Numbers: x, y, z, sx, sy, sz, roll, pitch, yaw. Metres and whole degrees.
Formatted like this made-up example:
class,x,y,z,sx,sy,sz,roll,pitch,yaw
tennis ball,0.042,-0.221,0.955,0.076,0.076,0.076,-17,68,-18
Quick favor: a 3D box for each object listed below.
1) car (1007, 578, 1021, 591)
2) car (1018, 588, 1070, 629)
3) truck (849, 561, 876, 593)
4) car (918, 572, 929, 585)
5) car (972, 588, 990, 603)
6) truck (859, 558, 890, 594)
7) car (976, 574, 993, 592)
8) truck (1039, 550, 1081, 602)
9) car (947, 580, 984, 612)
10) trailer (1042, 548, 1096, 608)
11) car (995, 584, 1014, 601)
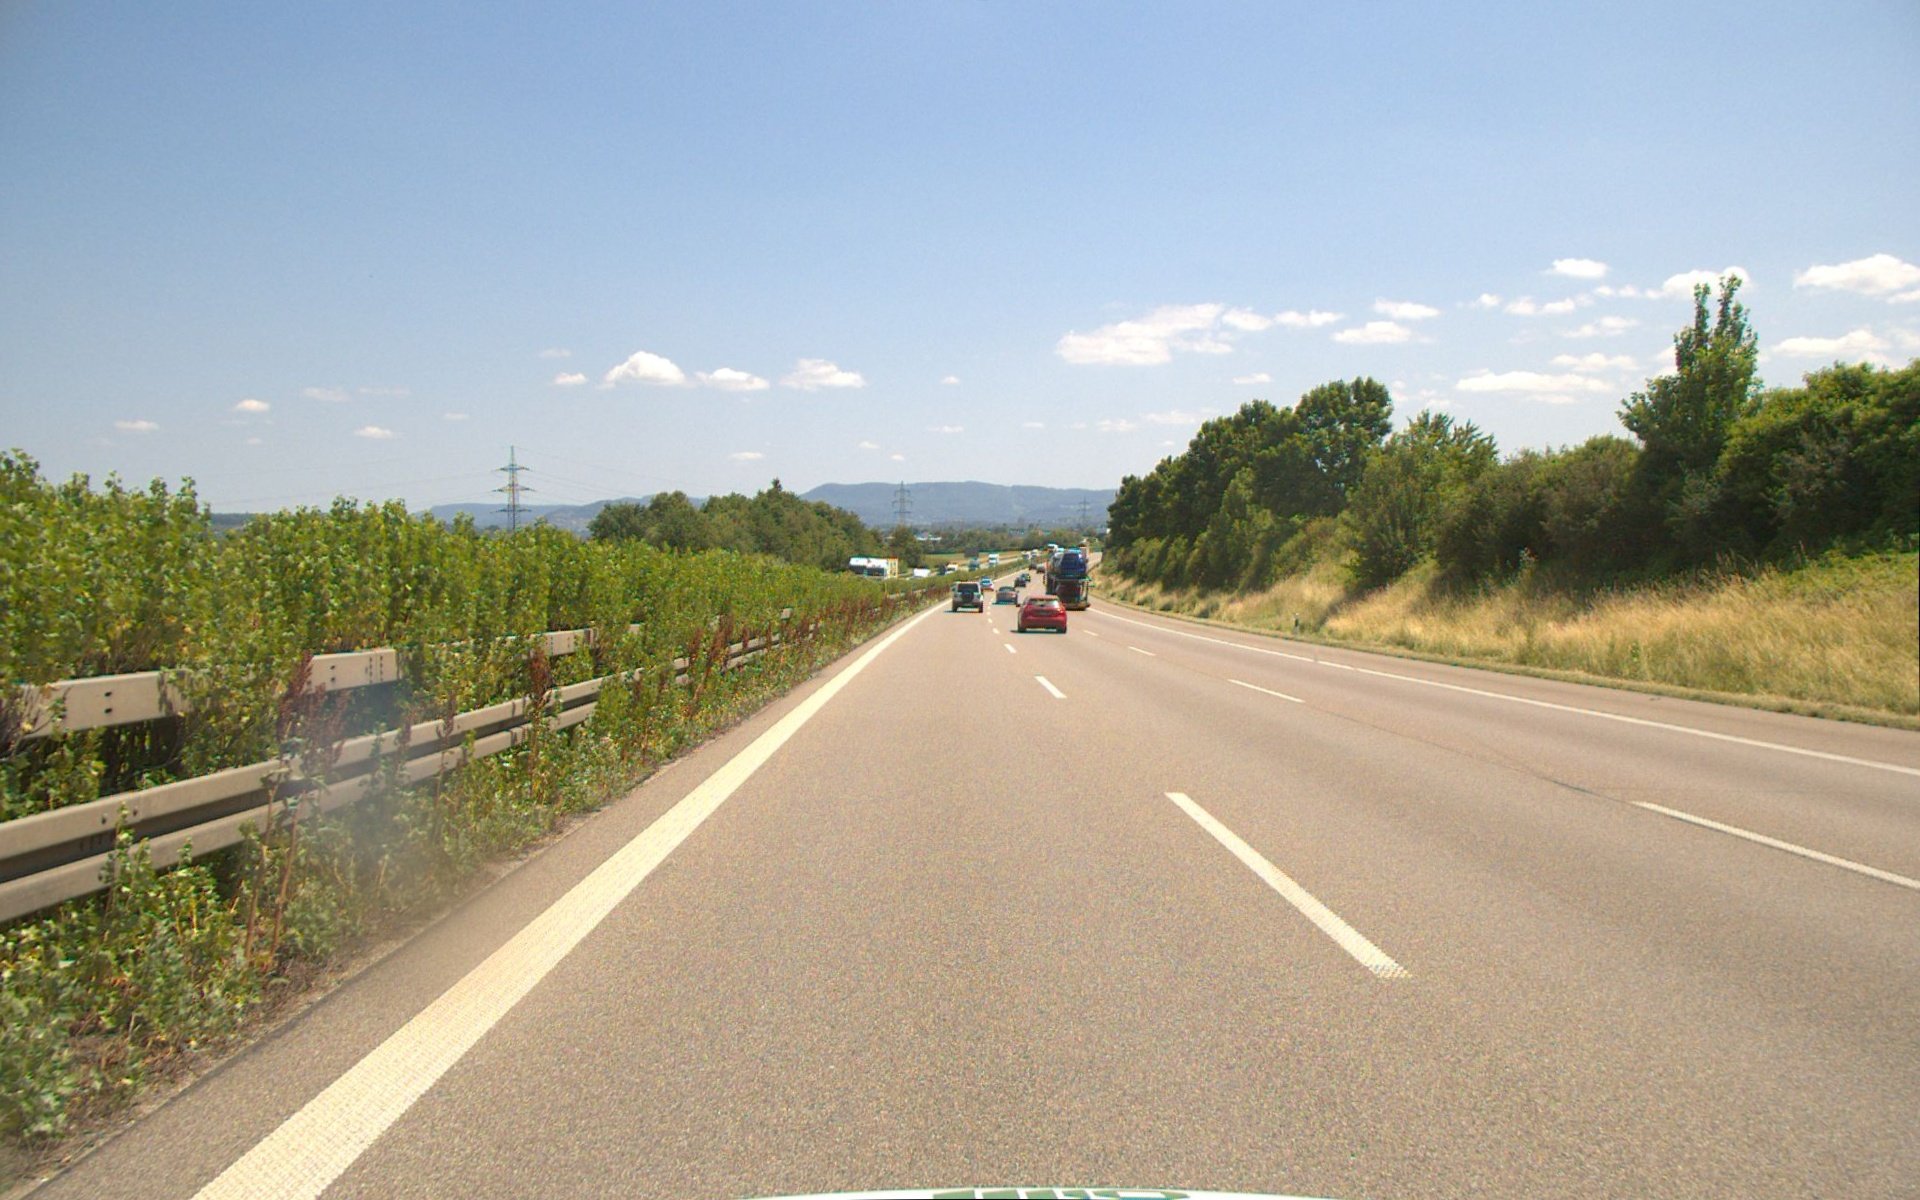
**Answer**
class,x,y,z,sx,sy,sz,roll,pitch,yaw
car,7.552,-2.112,230.504,1.601,1.734,3.404,1,1,6
car,3.201,0.307,63.543,1.652,1.403,3.948,1,1,-2
truck,-12.904,-3.072,218.545,2.948,4.180,5.624,1,1,2
car,-5.715,-3.347,259.187,1.757,2.048,4.000,1,1,-1
car,2.002,-0.451,156.525,1.425,1.289,3.339,1,1,4
truck,-10.257,-2.867,198.851,3.110,4.180,5.229,1,1,2
car,3.030,-2.118,203.508,1.662,2.048,3.825,1,1,6
truck,7.782,-1.874,128.979,2.698,3.919,6.643,1,1,-1
car,0.317,-0.256,102.516,2.042,1.861,4.752,1,1,-2
trailer,7.886,-1.711,121.155,2.797,4.062,15.397,1,1,0
car,3.567,-0.607,133.245,1.423,1.289,3.539,1,1,-1
